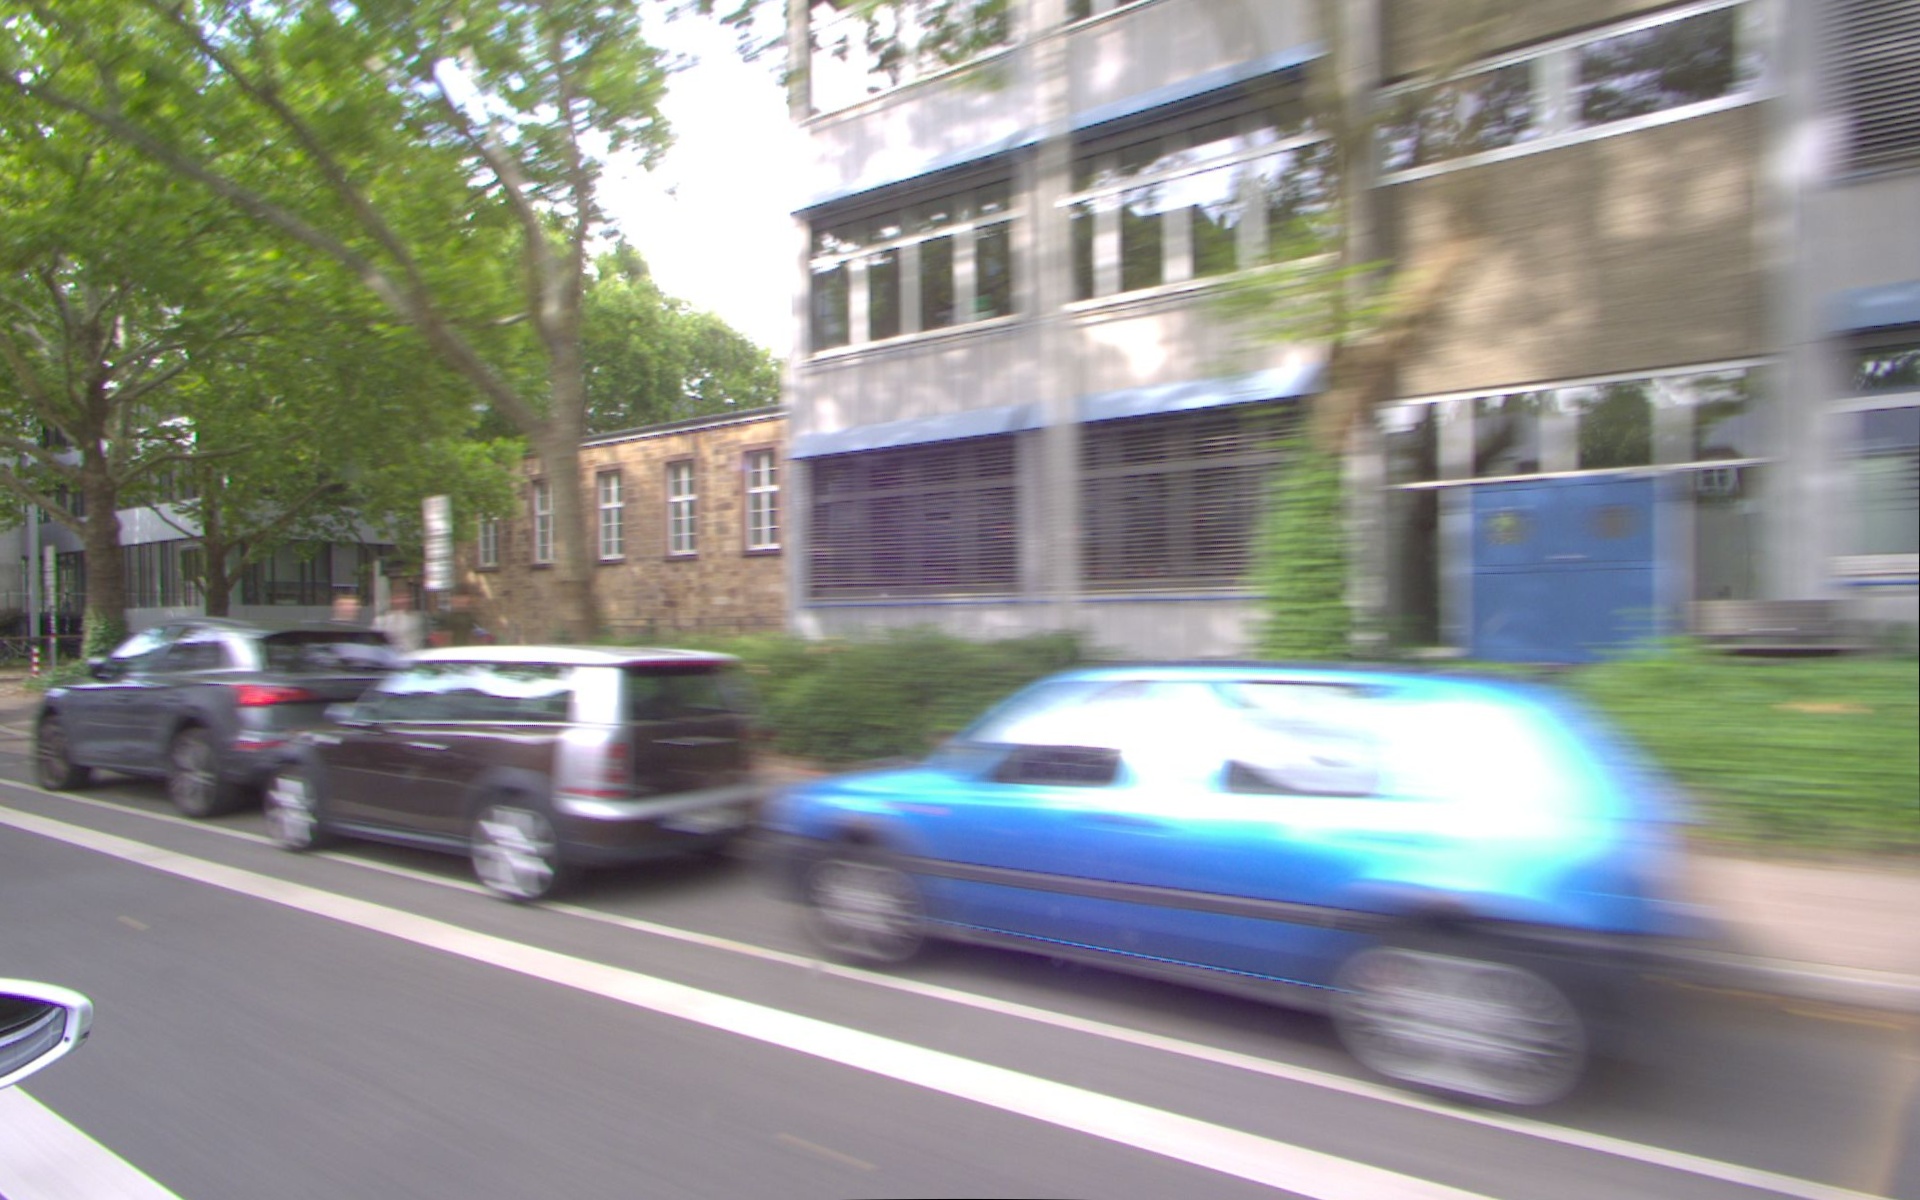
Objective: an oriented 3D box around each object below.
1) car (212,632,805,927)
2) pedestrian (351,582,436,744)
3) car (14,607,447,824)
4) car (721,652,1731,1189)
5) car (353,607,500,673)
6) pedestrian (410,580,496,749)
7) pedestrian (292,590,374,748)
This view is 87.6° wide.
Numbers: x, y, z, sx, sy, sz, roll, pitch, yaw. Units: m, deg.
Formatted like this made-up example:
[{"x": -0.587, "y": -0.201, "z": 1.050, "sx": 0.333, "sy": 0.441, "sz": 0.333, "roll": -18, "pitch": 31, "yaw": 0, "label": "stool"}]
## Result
[{"x": -3.237, "y": 0.974, "z": 6.915, "sx": 4.254, "sy": 1.489, "sz": 1.627, "roll": -1, "pitch": -1, "yaw": 31, "label": "car"}, {"x": -6.726, "y": 0.728, "z": 11.900, "sx": 0.682, "sy": 1.862, "sz": 0.586, "roll": 1, "pitch": -1, "yaw": 33, "label": "pedestrian"}, {"x": -7.035, "y": 0.954, "z": 9.550, "sx": 4.437, "sy": 1.661, "sz": 1.667, "roll": -1, "pitch": -3, "yaw": 30, "label": "car"}, {"x": 0.912, "y": 0.972, "z": 4.531, "sx": 3.944, "sy": 1.403, "sz": 1.619, "roll": -1, "pitch": -3, "yaw": 34, "label": "car"}, {"x": -13.267, "y": 0.968, "z": 24.859, "sx": 3.860, "sy": 1.477, "sz": 1.469, "roll": 1, "pitch": -1, "yaw": 32, "label": "car"}, {"x": -6.245, "y": 0.769, "z": 12.333, "sx": 0.682, "sy": 2.001, "sz": 0.641, "roll": 1, "pitch": -1, "yaw": 33, "label": "pedestrian"}, {"x": -7.113, "y": 0.769, "z": 11.369, "sx": 0.501, "sy": 1.724, "sz": 0.586, "roll": 1, "pitch": -1, "yaw": 33, "label": "pedestrian"}]
